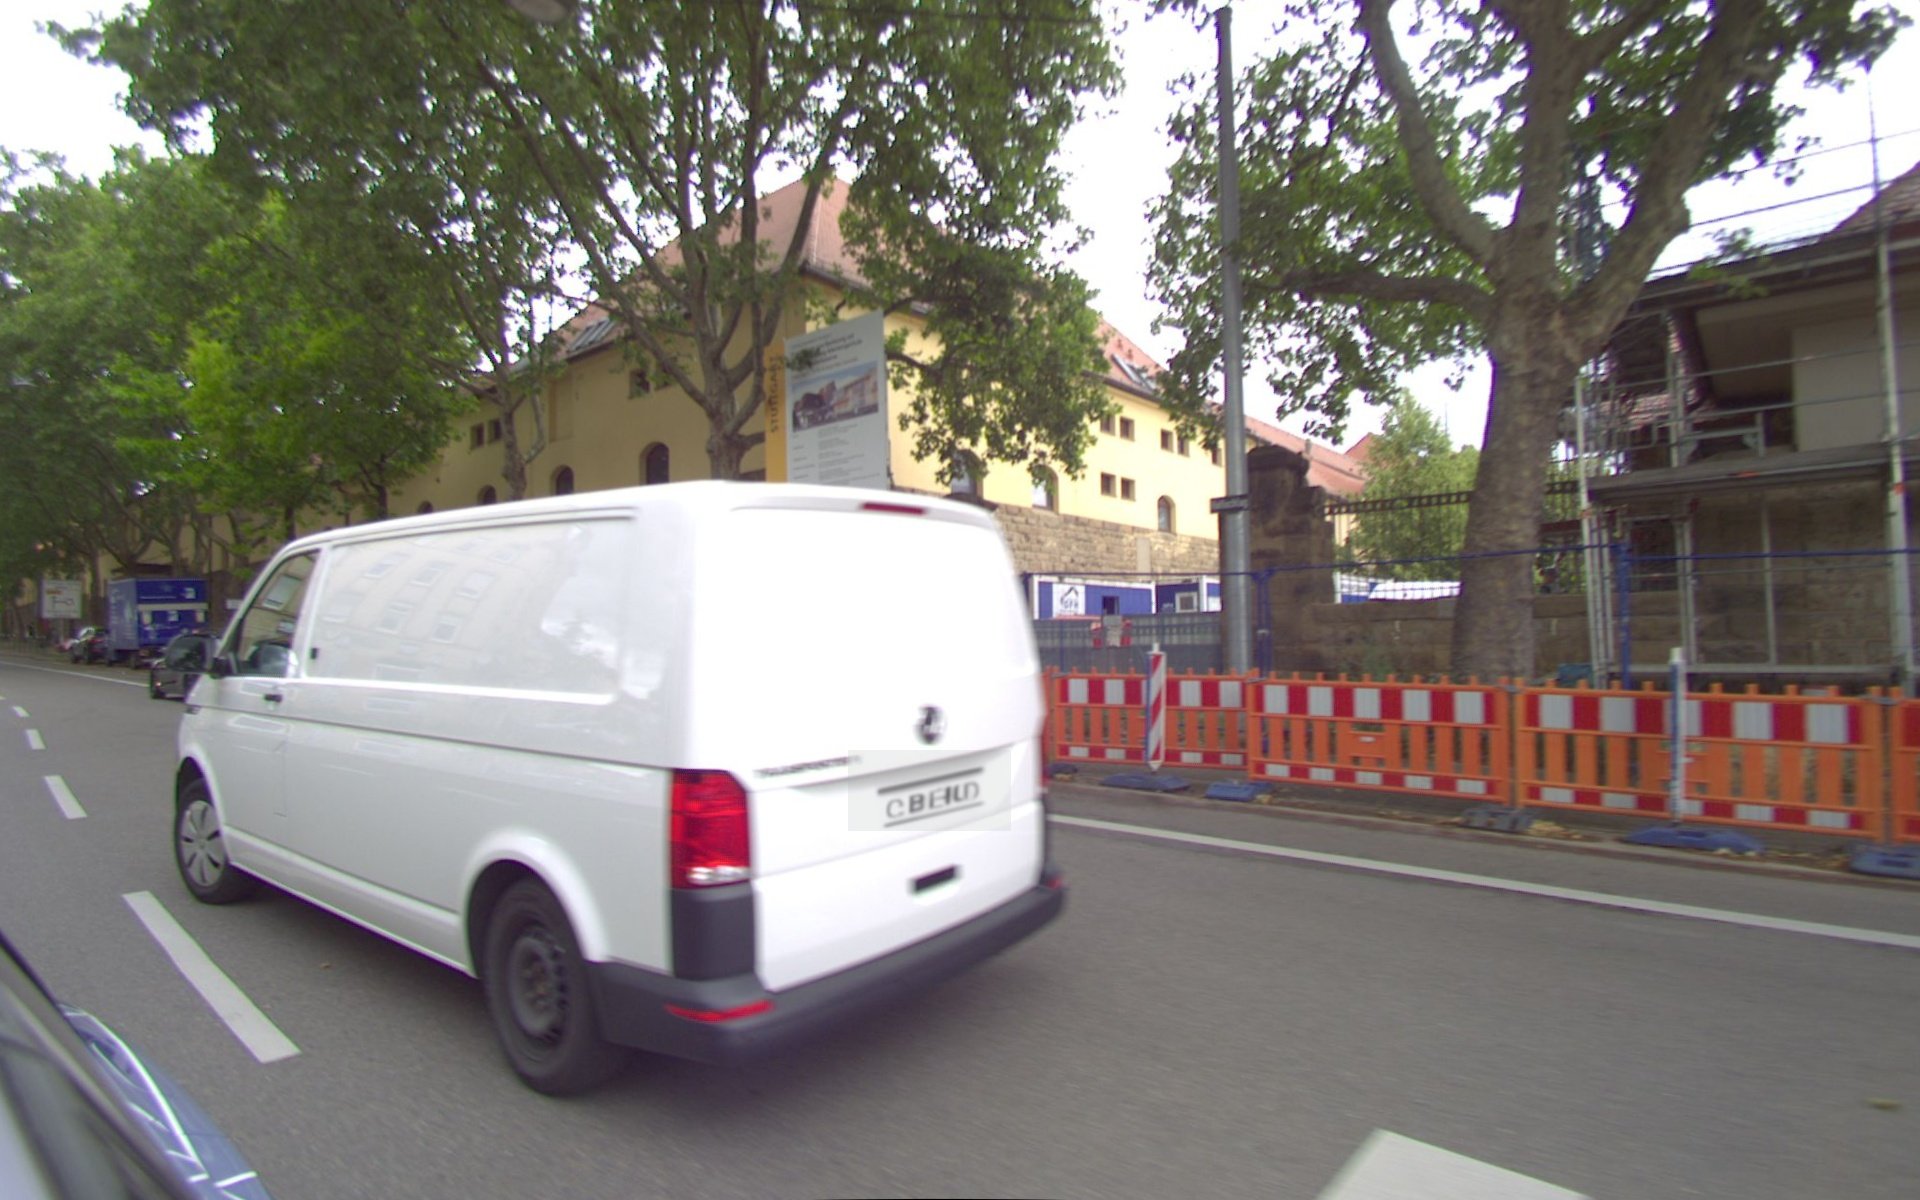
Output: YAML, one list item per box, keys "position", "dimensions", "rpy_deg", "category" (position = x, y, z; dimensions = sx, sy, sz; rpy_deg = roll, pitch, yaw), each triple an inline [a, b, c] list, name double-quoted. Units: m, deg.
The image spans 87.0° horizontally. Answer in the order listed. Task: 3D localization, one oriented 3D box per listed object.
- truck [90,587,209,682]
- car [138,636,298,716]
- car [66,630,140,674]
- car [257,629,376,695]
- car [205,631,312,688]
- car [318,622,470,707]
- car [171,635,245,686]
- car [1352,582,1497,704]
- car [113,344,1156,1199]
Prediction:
- position: [-32.069, 1.300, 39.945]
  dimensions: [7.240, 3.442, 2.193]
  rpy_deg: [-1, 0, 39]
  category: "truck"
- position: [-15.180, 1.475, 20.629]
  dimensions: [4.246, 1.437, 1.682]
  rpy_deg: [-2, -2, 40]
  category: "car"
- position: [-37.254, 2.210, 43.973]
  dimensions: [4.248, 1.702, 1.714]
  rpy_deg: [-1, 0, 39]
  category: "car"
- position: [-18.017, 1.667, 28.276]
  dimensions: [4.109, 1.643, 1.494]
  rpy_deg: [-1, 0, 38]
  category: "car"
- position: [-22.019, 1.802, 31.739]
  dimensions: [4.080, 1.585, 1.579]
  rpy_deg: [-1, 0, 37]
  category: "car"
- position: [-13.830, 1.509, 24.643]
  dimensions: [4.414, 1.891, 1.815]
  rpy_deg: [-2, -3, 41]
  category: "car"
- position: [-26.160, 2.059, 35.165]
  dimensions: [2.990, 1.585, 1.465]
  rpy_deg: [-1, 0, 41]
  category: "car"
- position: [11.714, 0.915, 25.232]
  dimensions: [1.997, 2.669, 5.989]
  rpy_deg: [-1, 0, 37]
  category: "car"
- position: [-1.947, 0.492, 4.703]
  dimensions: [5.236, 1.946, 2.182]
  rpy_deg: [-2, -2, 40]
  category: "car"
